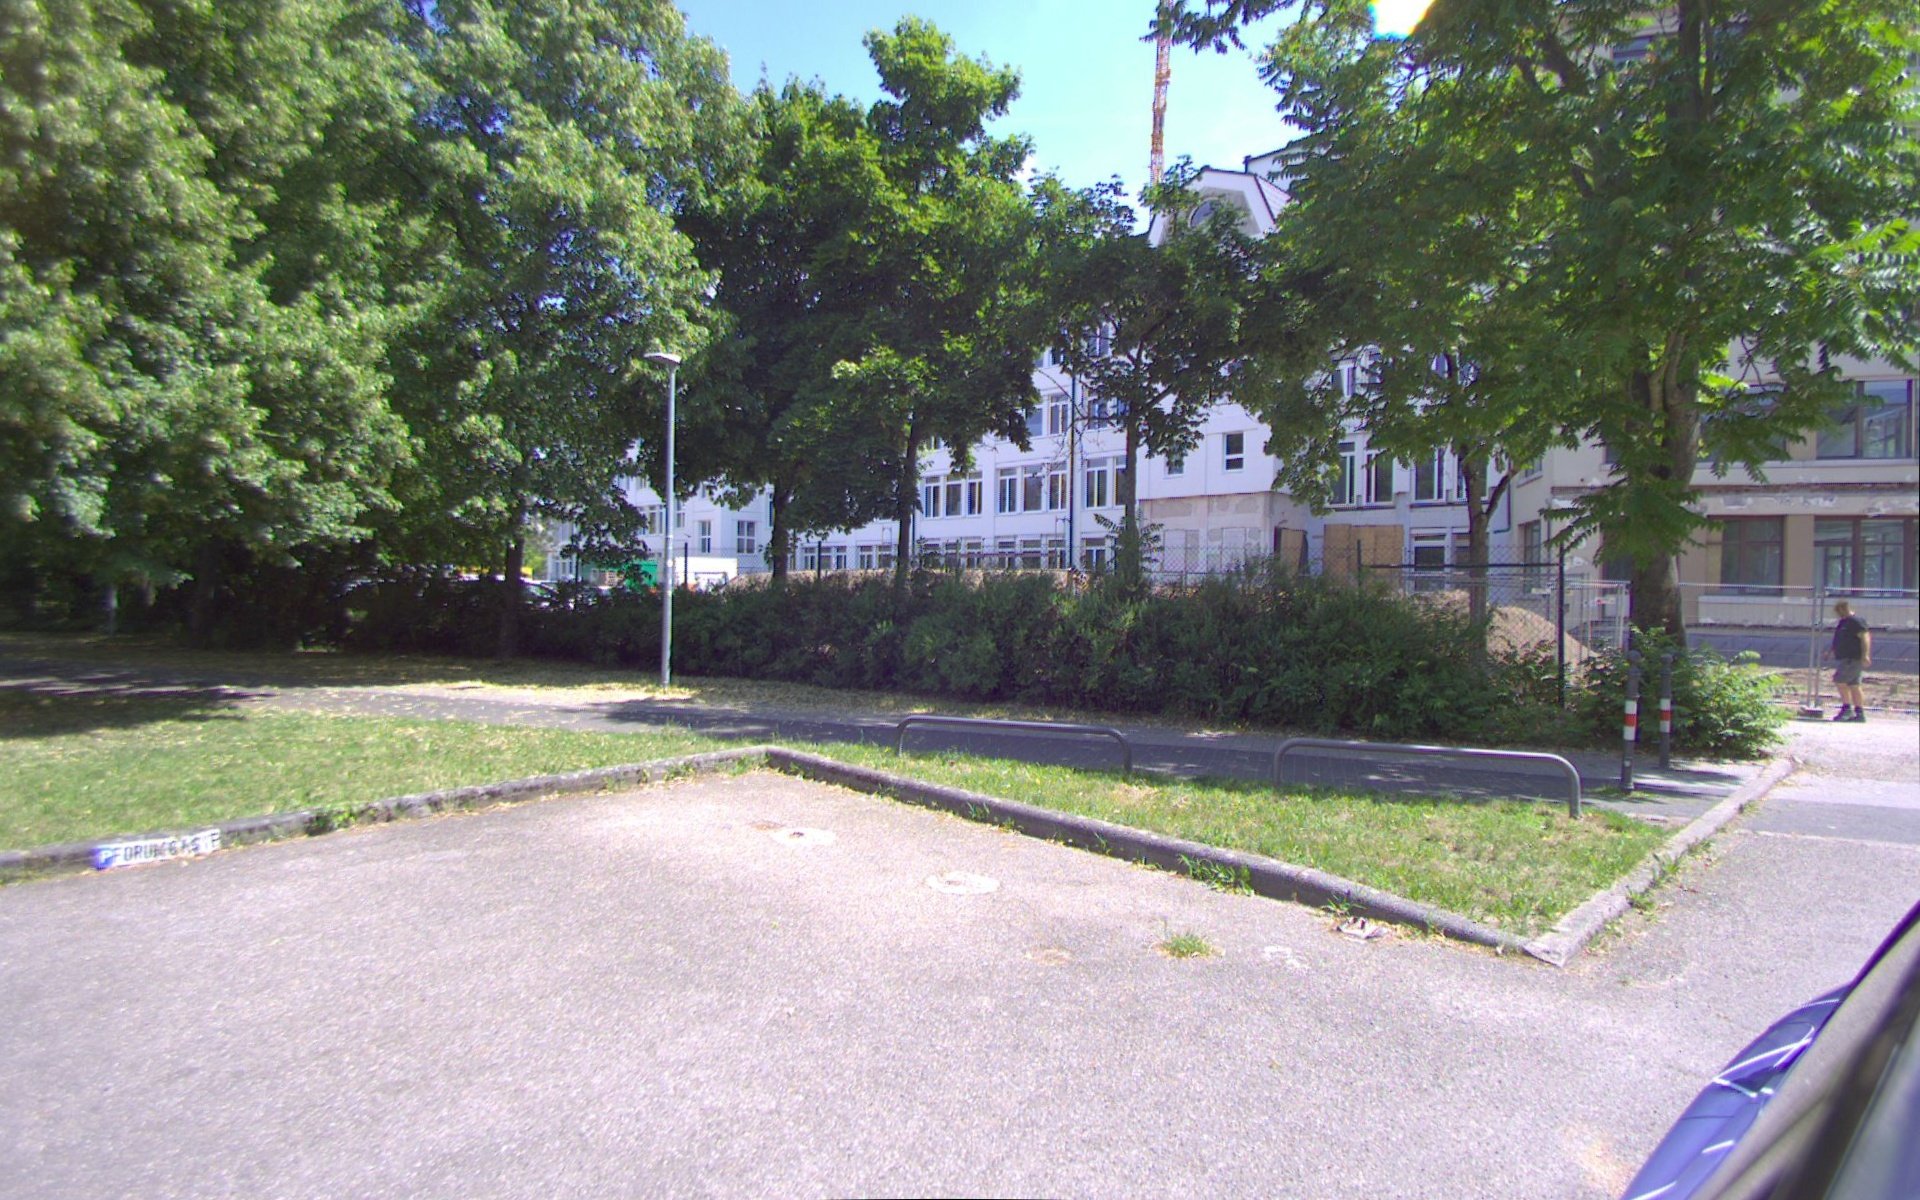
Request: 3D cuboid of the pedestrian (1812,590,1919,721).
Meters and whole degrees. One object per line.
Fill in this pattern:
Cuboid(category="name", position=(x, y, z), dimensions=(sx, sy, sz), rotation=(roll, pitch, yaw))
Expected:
Cuboid(category="pedestrian", position=(13.406, 0.792, 14.998), dimensions=(0.957, 1.842, 0.863), rotation=(1, 0, 25))
